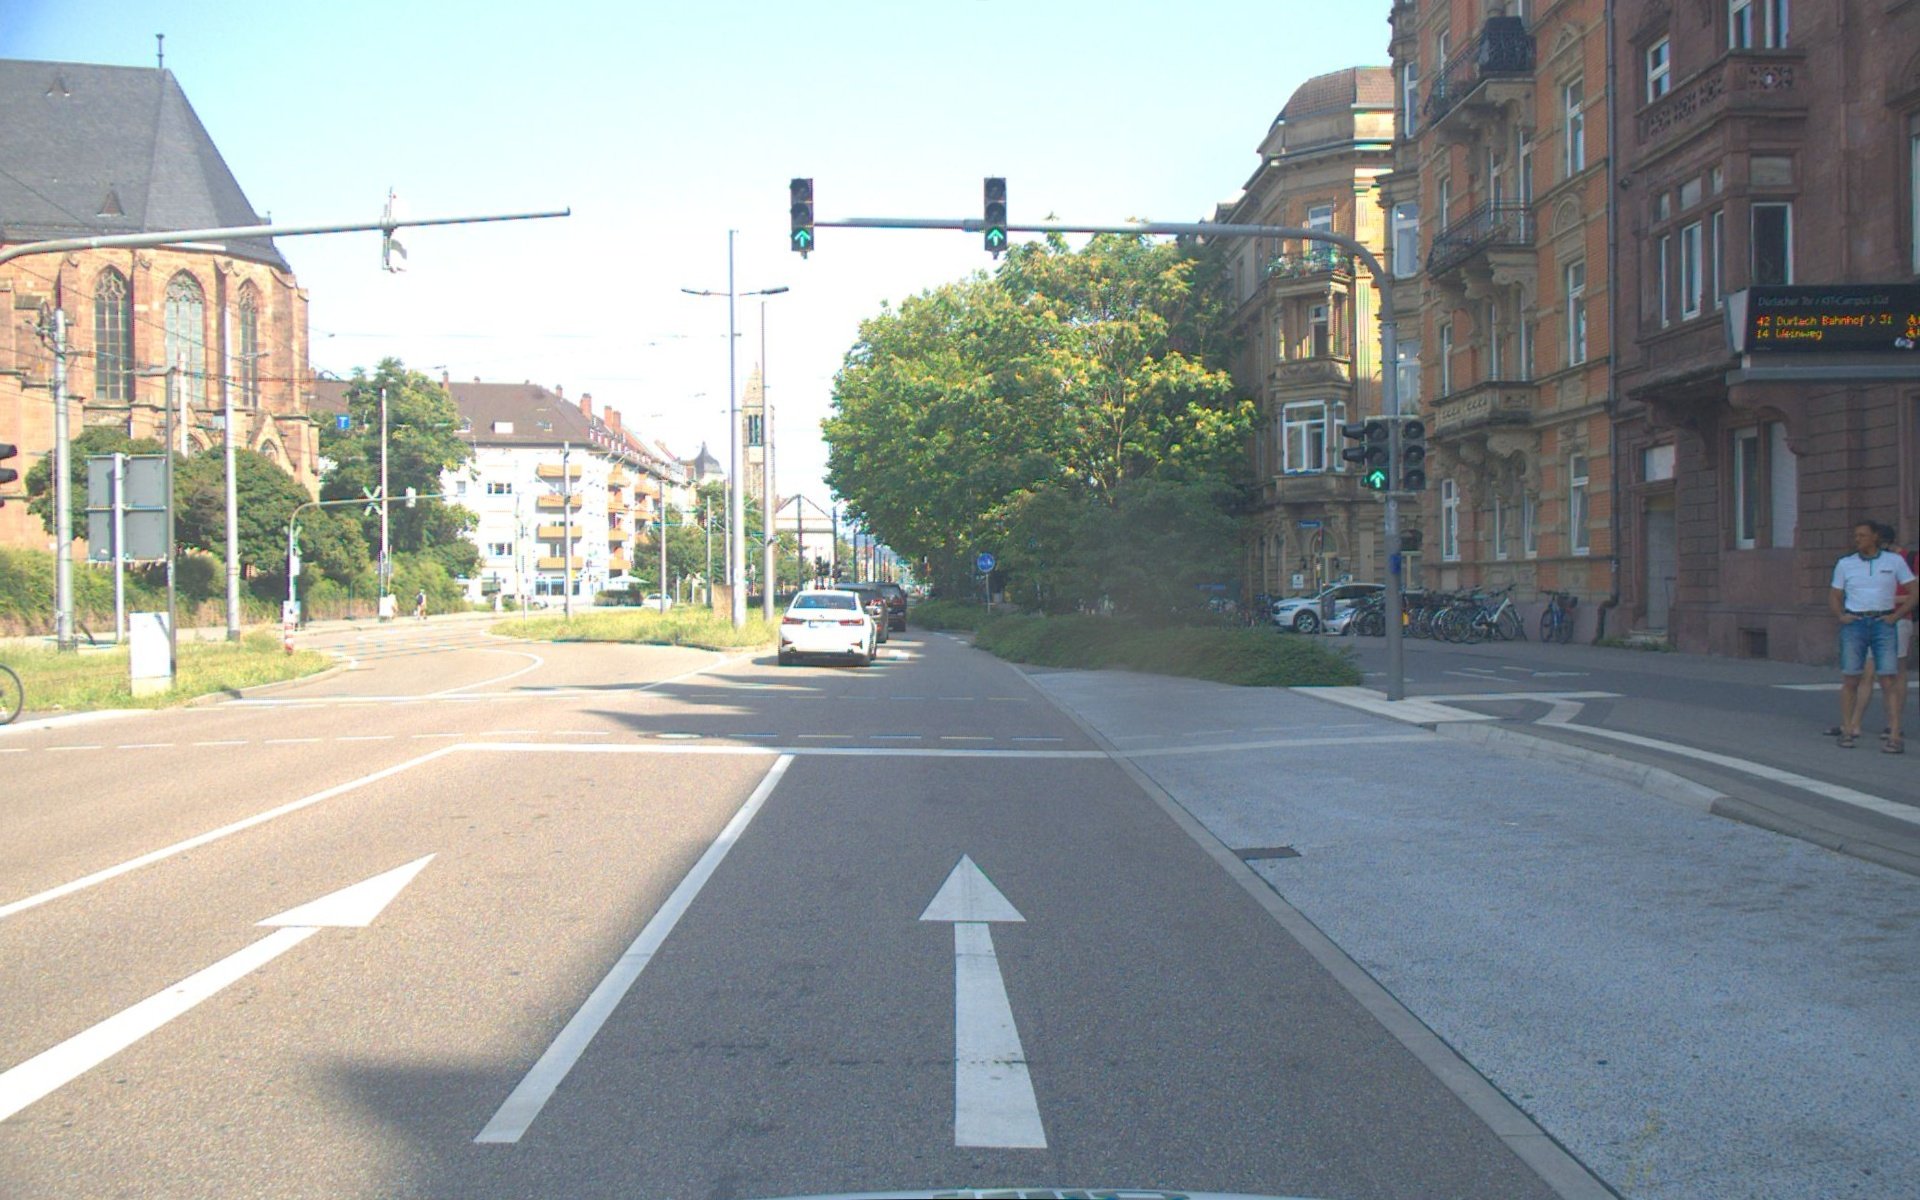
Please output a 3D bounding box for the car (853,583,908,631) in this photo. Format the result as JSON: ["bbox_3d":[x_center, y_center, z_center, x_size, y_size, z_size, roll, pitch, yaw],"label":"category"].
[{"bbox_3d":[-2.779,0.222,58.700,1.794,1.649,4.356,0,0,-1],"label":"car"}]

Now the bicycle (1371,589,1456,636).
[{"bbox_3d":[10.774,0.300,39.306,1.891,1.066,0.526,-1,0,-7],"label":"bicycle"}]

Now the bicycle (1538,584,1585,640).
[{"bbox_3d":[11.944,0.225,32.882,0.408,1.066,1.671,-1,0,4],"label":"bicycle"}]

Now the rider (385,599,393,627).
[{"bbox_3d":[-29.749,0.664,86.159,0.301,1.456,0.250,-1,0,-4],"label":"rider"}]

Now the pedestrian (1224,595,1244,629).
[{"bbox_3d":[8.974,0.391,54.160,0.439,1.089,0.482,-1,0,-32],"label":"pedestrian"}]

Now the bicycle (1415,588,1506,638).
[{"bbox_3d":[11.240,0.285,37.159,1.891,1.066,0.499,-1,0,-7],"label":"bicycle"}]

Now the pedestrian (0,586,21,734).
[{"bbox_3d":[-11.520,0.701,19.172,0.898,1.709,0.602,-1,0,-2],"label":"pedestrian"}]

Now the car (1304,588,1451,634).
[{"bbox_3d":[12.204,0.319,48.448,3.860,1.243,1.545,-1,0,-6],"label":"car"}]

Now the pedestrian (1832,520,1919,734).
[{"bbox_3d":[7.711,0.215,13.781,0.471,1.731,0.702,-1,0,-4],"label":"pedestrian"}]

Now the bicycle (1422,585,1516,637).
[{"bbox_3d":[10.954,0.239,35.591,1.891,1.066,0.499,-1,0,-7],"label":"bicycle"}]

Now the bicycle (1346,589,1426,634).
[{"bbox_3d":[10.684,0.282,41.507,1.891,1.066,0.526,-1,0,-7],"label":"bicycle"}]

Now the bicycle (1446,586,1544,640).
[{"bbox_3d":[11.045,0.272,34.143,1.891,1.066,0.499,-1,0,-7],"label":"bicycle"}]

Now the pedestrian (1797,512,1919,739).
[{"bbox_3d":[6.935,0.186,12.702,0.676,1.693,0.619,-1,0,-1],"label":"pedestrian"}]

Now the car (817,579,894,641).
[{"bbox_3d":[-2.912,0.255,46.928,1.953,1.649,4.356,1,0,-1],"label":"car"}]

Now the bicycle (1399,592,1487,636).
[{"bbox_3d":[11.068,0.309,37.936,1.891,0.967,0.499,-1,0,-7],"label":"bicycle"}]

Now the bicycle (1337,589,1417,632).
[{"bbox_3d":[10.638,0.263,42.223,1.891,1.066,0.526,-1,0,-7],"label":"bicycle"}]

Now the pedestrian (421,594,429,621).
[{"bbox_3d":[-30.744,0.430,95.031,0.298,1.544,0.340,-1,0,-5],"label":"pedestrian"}]

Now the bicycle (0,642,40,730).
[{"bbox_3d":[-11.716,1.006,19.221,1.723,0.995,0.479,-1,0,-3],"label":"bicycle"}]

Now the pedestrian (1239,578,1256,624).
[{"bbox_3d":[9.706,0.039,55.815,0.435,1.532,0.486,-1,0,-7],"label":"pedestrian"}]

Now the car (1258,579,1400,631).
[{"bbox_3d":[11.923,0.149,53.596,4.099,1.590,1.998,-1,0,-6],"label":"car"}]

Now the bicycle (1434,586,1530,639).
[{"bbox_3d":[11.012,0.253,34.888,1.891,1.066,0.499,-1,0,-7],"label":"bicycle"}]

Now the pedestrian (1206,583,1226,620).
[{"bbox_3d":[8.935,0.051,57.787,0.585,1.270,0.506,-1,0,-2],"label":"pedestrian"}]

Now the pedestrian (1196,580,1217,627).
[{"bbox_3d":[8.000,0.112,53.656,0.562,1.479,0.731,-1,0,-1],"label":"pedestrian"}]

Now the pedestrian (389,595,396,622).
[{"bbox_3d":[-31.878,0.474,92.944,0.298,1.544,0.340,-1,0,-5],"label":"pedestrian"}]

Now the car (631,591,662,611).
[{"bbox_3d":[-25.281,0.076,133.512,1.954,1.526,3.998,-1,0,-3],"label":"car"}]

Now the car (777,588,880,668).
[{"bbox_3d":[-2.588,0.509,33.402,1.772,1.452,4.773,1,1,-1],"label":"car"}]
